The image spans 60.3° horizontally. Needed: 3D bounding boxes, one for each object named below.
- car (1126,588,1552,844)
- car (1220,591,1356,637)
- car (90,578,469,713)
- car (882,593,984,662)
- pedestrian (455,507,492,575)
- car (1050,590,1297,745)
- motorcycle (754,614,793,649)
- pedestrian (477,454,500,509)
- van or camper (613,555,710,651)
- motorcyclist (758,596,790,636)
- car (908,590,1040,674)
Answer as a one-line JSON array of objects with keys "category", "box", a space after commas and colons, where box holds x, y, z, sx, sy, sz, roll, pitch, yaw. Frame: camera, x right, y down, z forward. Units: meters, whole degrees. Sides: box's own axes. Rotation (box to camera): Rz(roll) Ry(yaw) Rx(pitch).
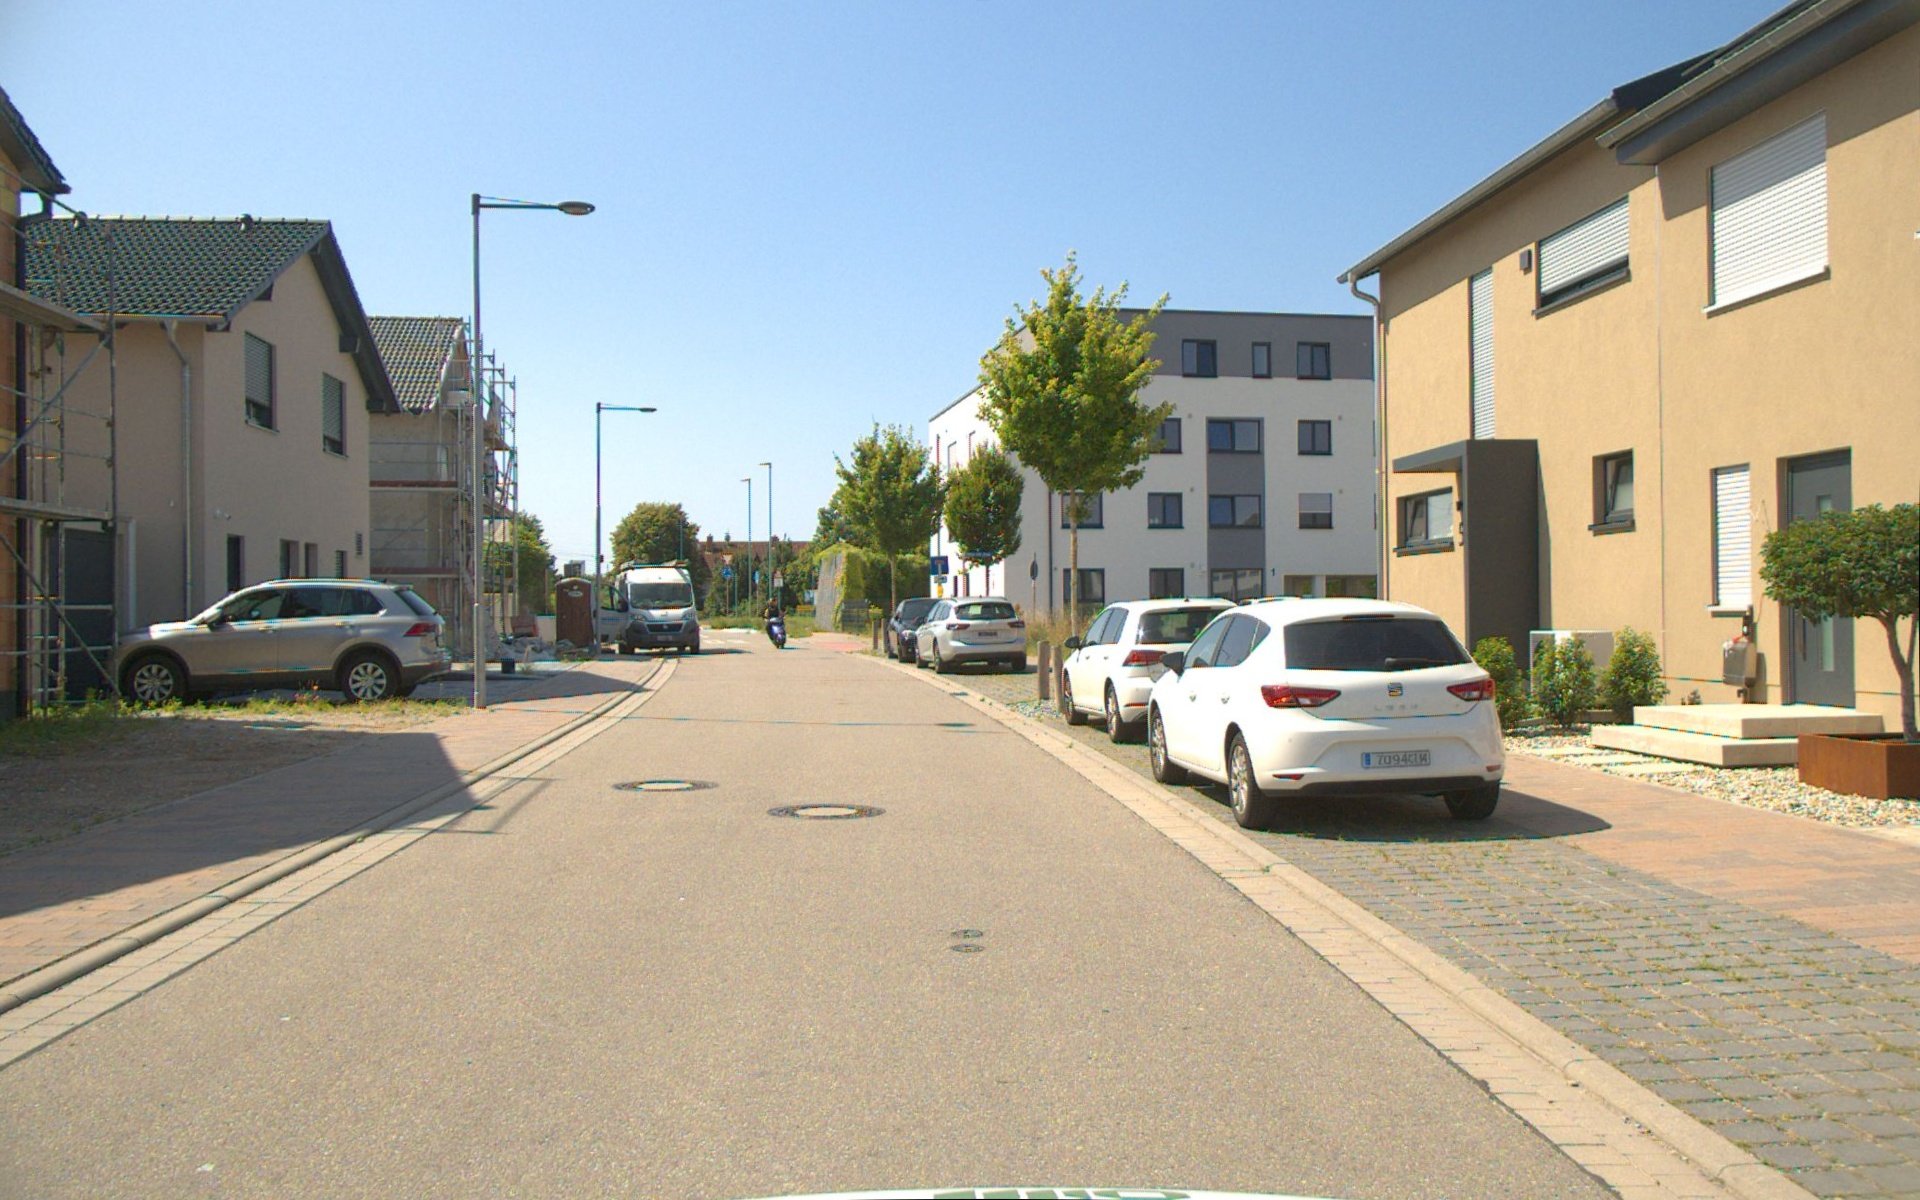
[{"category": "car", "box": [2.552, 0.707, 12.370, 1.779, 1.481, 4.560, -2, 0, -5]}, {"category": "car", "box": [11.016, 0.476, 55.614, 4.084, 1.461, 1.877, -1, -1, -11]}, {"category": "car", "box": [-9.043, 0.571, 22.361, 4.343, 1.640, 1.996, -1, 0, -9]}, {"category": "car", "box": [-0.739, 0.620, 40.556, 1.882, 1.495, 5.131, -2, 1, -7]}, {"category": "pedestrian", "box": [-12.722, -1.533, 43.255, 0.567, 1.709, 0.745, -3, -3, 38]}, {"category": "car", "box": [2.262, 0.657, 18.737, 1.745, 1.450, 4.508, -2, 1, -6]}, {"category": "motorcycle", "box": [-5.889, 0.979, 52.120, 0.939, 1.053, 2.428, -1, 0, -13]}, {"category": "pedestrian", "box": [-13.749, -3.456, 48.216, 0.551, 1.526, 0.746, -1, -2, -11]}, {"category": "van or camper", "box": [-8.817, 0.127, 48.450, 2.235, 2.598, 6.341, -1, -1, -15]}, {"category": "motorcyclist", "box": [-5.832, 0.499, 51.870, 0.909, 1.244, 0.801, -1, 1, -13]}, {"category": "car", "box": [0.195, 0.606, 34.572, 1.883, 1.537, 5.283, -2, 1, -9]}]
